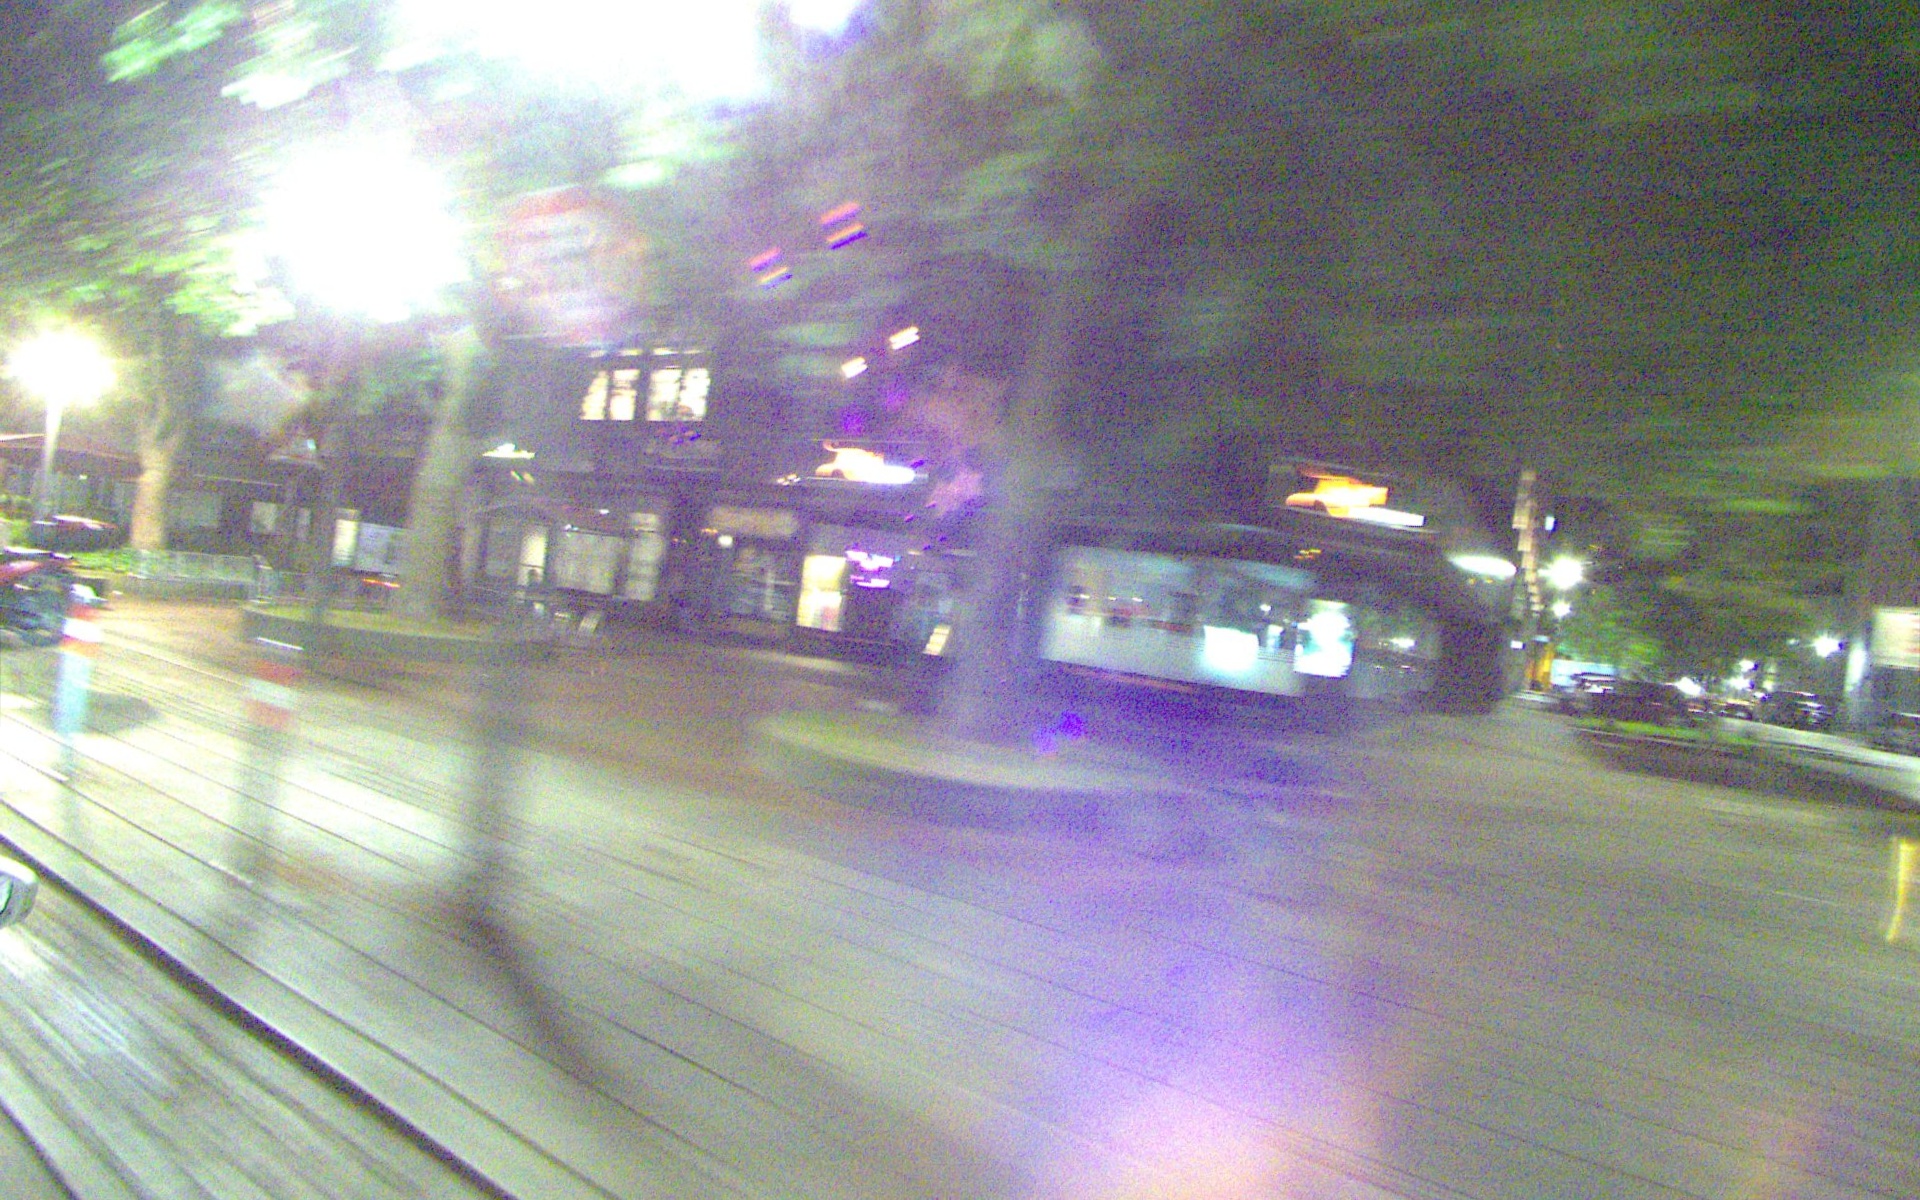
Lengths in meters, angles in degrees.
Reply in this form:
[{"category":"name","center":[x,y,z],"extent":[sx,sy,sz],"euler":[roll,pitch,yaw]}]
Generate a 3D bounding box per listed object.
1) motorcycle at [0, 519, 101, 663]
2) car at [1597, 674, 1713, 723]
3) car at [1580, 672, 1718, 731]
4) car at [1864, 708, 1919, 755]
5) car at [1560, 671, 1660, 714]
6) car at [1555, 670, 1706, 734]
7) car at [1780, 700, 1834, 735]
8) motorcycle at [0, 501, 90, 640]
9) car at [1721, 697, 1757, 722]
[{"category":"motorcycle","center":[-9.672,-0.169,9.580],"extent":[2.140,1.313,0.513],"euler":[6,0,-20]},{"category":"car","center":[29.034,4.111,42.159],"extent":[3.731,1.496,1.750],"euler":[6,-2,31]},{"category":"car","center":[23.983,3.539,35.174],"extent":[3.731,1.496,1.750],"euler":[6,-2,31]},{"category":"car","center":[36.579,5.118,38.942],"extent":[1.625,1.518,3.515],"euler":[8,1,32]},{"category":"car","center":[30.560,4.344,47.446],"extent":[3.731,1.496,1.750],"euler":[6,-2,31]},{"category":"car","center":[22.094,3.352,33.356],"extent":[3.933,1.496,1.750],"euler":[6,-2,31]},{"category":"car","center":[44.712,6.181,53.182],"extent":[1.446,1.518,3.516],"euler":[8,1,31]},{"category":"motorcycle","center":[-10.668,-0.394,10.483],"extent":[2.249,1.408,0.655],"euler":[6,0,-33]},{"category":"car","center":[55.765,7.817,72.053],"extent":[1.446,1.518,3.516],"euler":[8,1,31]}]
